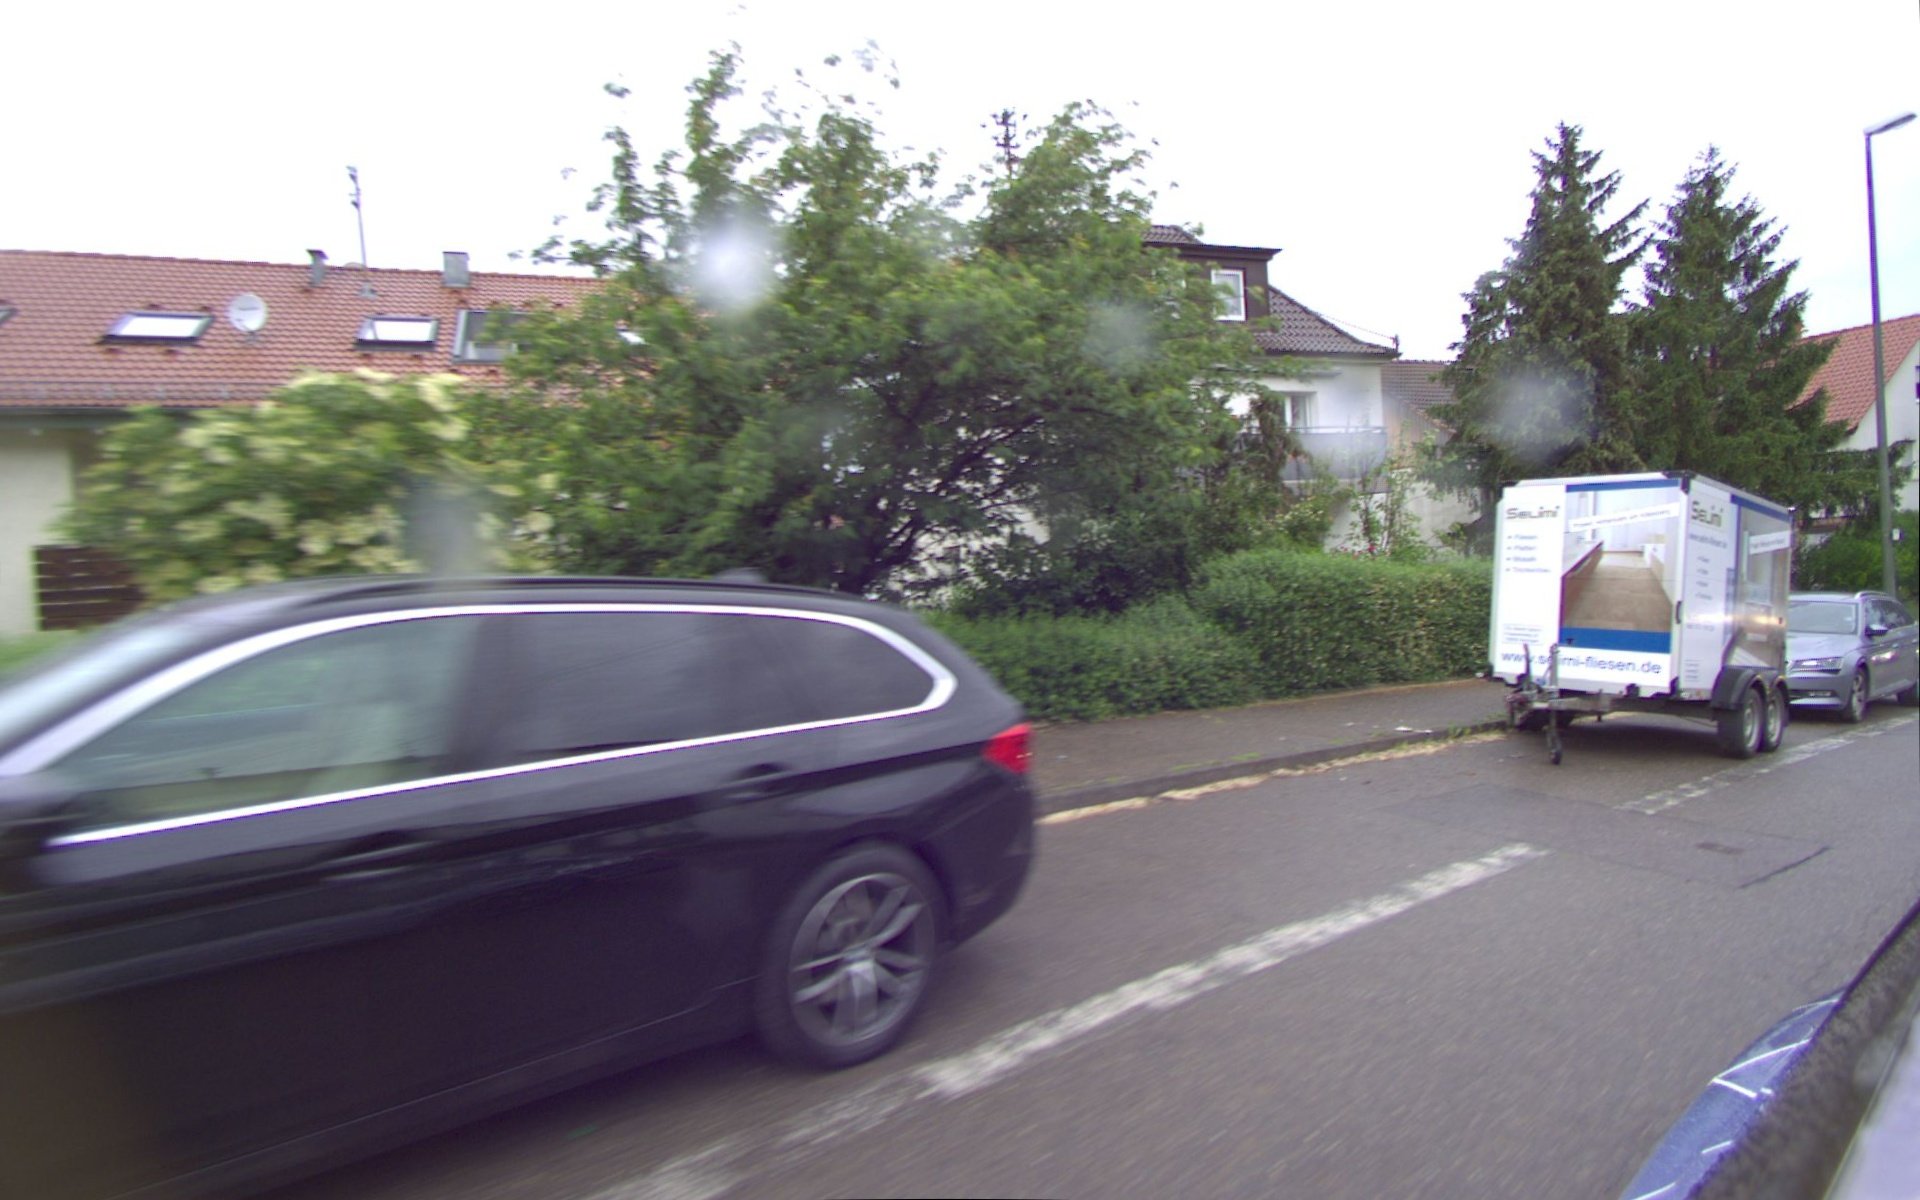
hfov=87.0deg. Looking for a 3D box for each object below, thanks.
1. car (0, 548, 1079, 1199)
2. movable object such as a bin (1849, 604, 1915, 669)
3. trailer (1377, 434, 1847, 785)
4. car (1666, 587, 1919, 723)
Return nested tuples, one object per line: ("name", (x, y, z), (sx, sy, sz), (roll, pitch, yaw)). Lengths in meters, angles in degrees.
("car", (-1.913, 0.630, 2.794), (4.706, 1.477, 1.796), (-1, 1, -41))
("movable object such as a bin", (16.265, 0.624, 17.857), (0.687, 1.111, 0.705), (0, 0, -32))
("trailer", (6.323, 0.025, 9.537), (5.332, 2.487, 1.955), (-1, 1, -36))
("car", (11.009, 0.568, 12.924), (4.614, 1.442, 1.753), (-1, 1, -34))
